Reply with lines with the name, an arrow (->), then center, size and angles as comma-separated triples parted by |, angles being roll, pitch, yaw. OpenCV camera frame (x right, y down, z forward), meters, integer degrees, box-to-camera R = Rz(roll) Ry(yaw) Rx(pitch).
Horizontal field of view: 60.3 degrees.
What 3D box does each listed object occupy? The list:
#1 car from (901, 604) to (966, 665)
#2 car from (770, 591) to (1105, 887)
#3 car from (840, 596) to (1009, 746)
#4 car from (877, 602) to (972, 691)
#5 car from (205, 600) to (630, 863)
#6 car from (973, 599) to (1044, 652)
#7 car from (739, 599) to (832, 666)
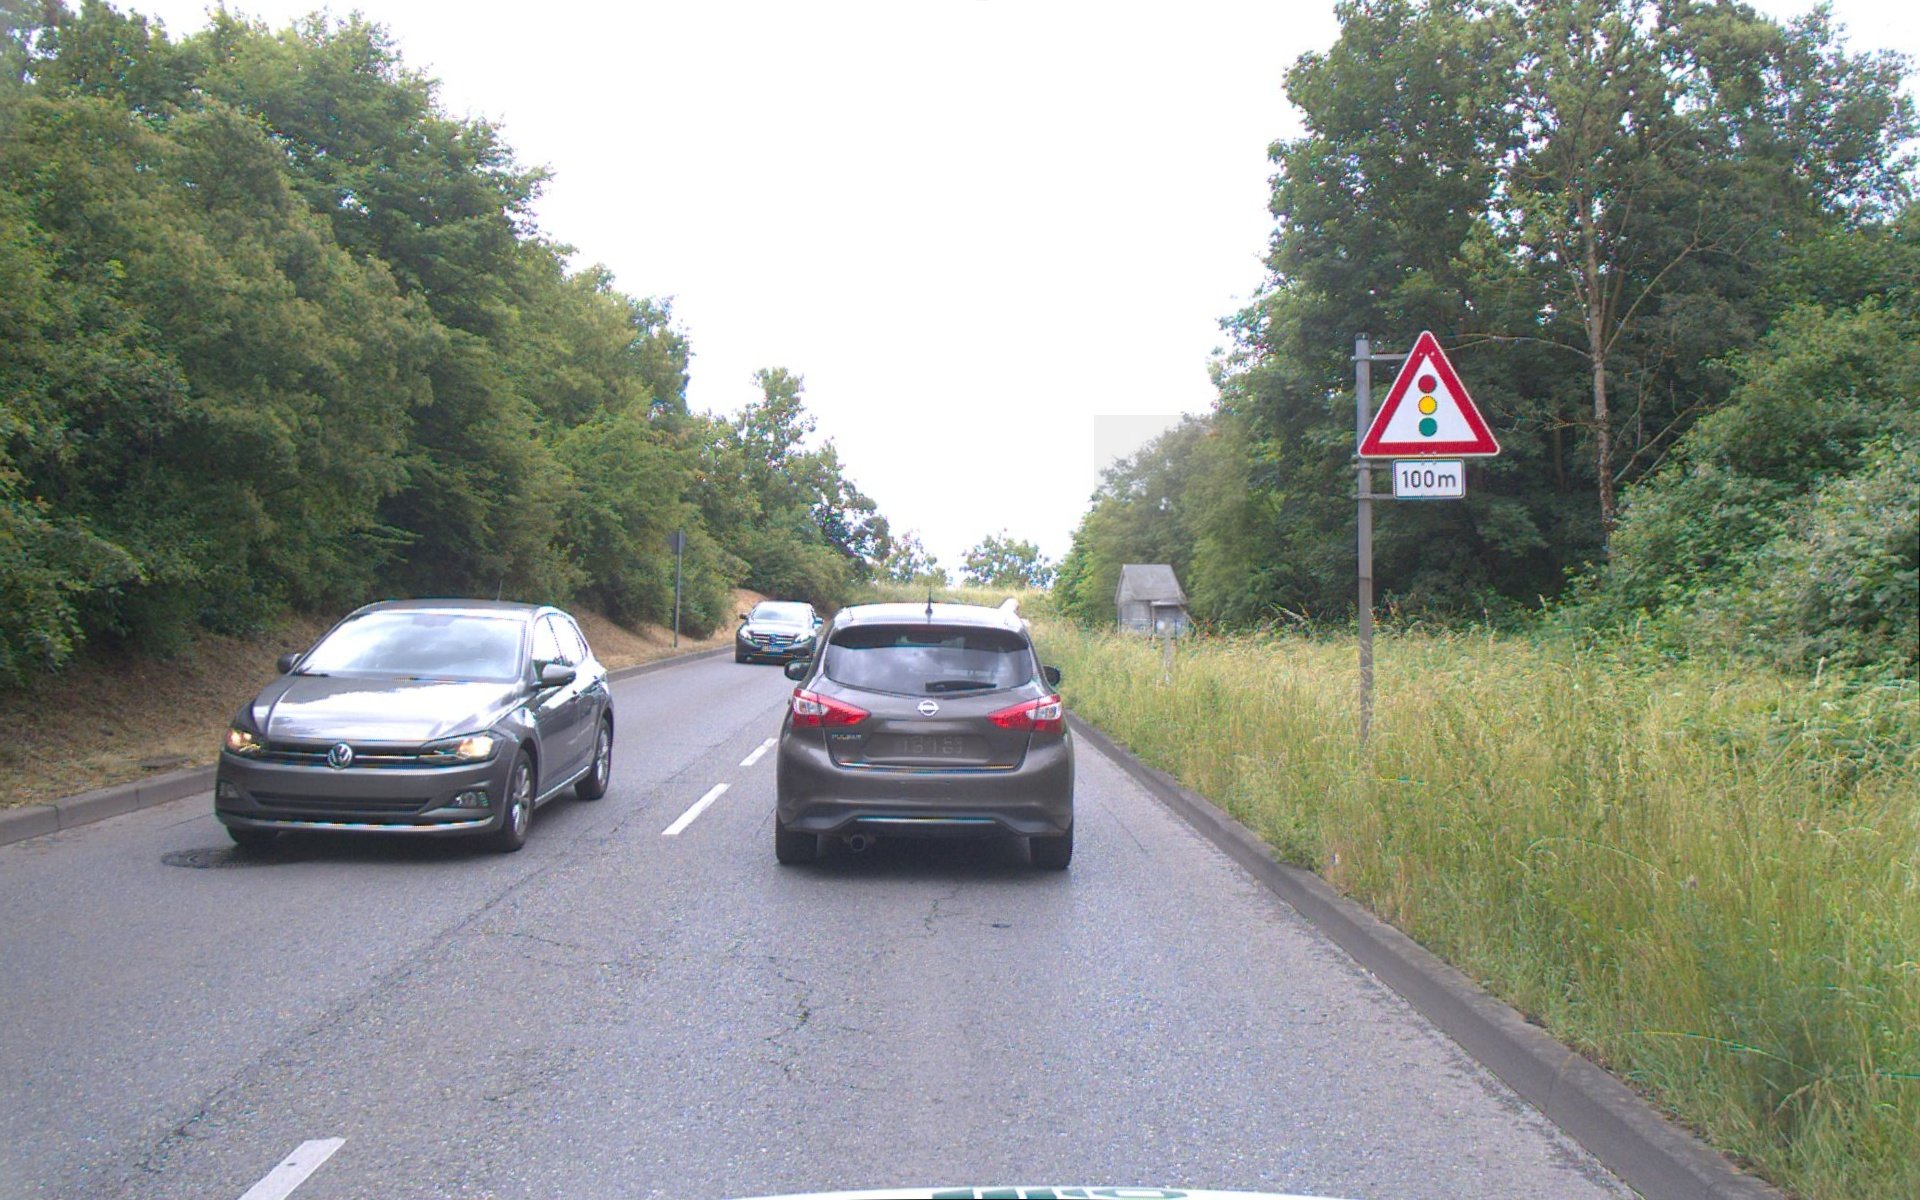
car -> -0.694, 0.901, 45.088 | 1.700, 1.583, 3.543 | 0, 0, 0
car -> -0.191, 0.755, 10.665 | 1.793, 1.583, 3.497 | 1, 0, -3
car -> -0.386, 0.756, 19.336 | 1.793, 1.583, 3.624 | 0, 0, 0
car -> -0.637, 0.834, 31.380 | 1.700, 1.583, 3.543 | 0, 0, 0
car -> -3.348, 0.725, 10.962 | 1.609, 1.425, 3.820 | 1, 0, -1
car -> 1.886, 0.933, 63.405 | 1.700, 1.969, 3.544 | 0, 0, 20
car -> -4.100, 0.750, 39.424 | 1.608, 1.424, 3.822 | 4, 0, 2
